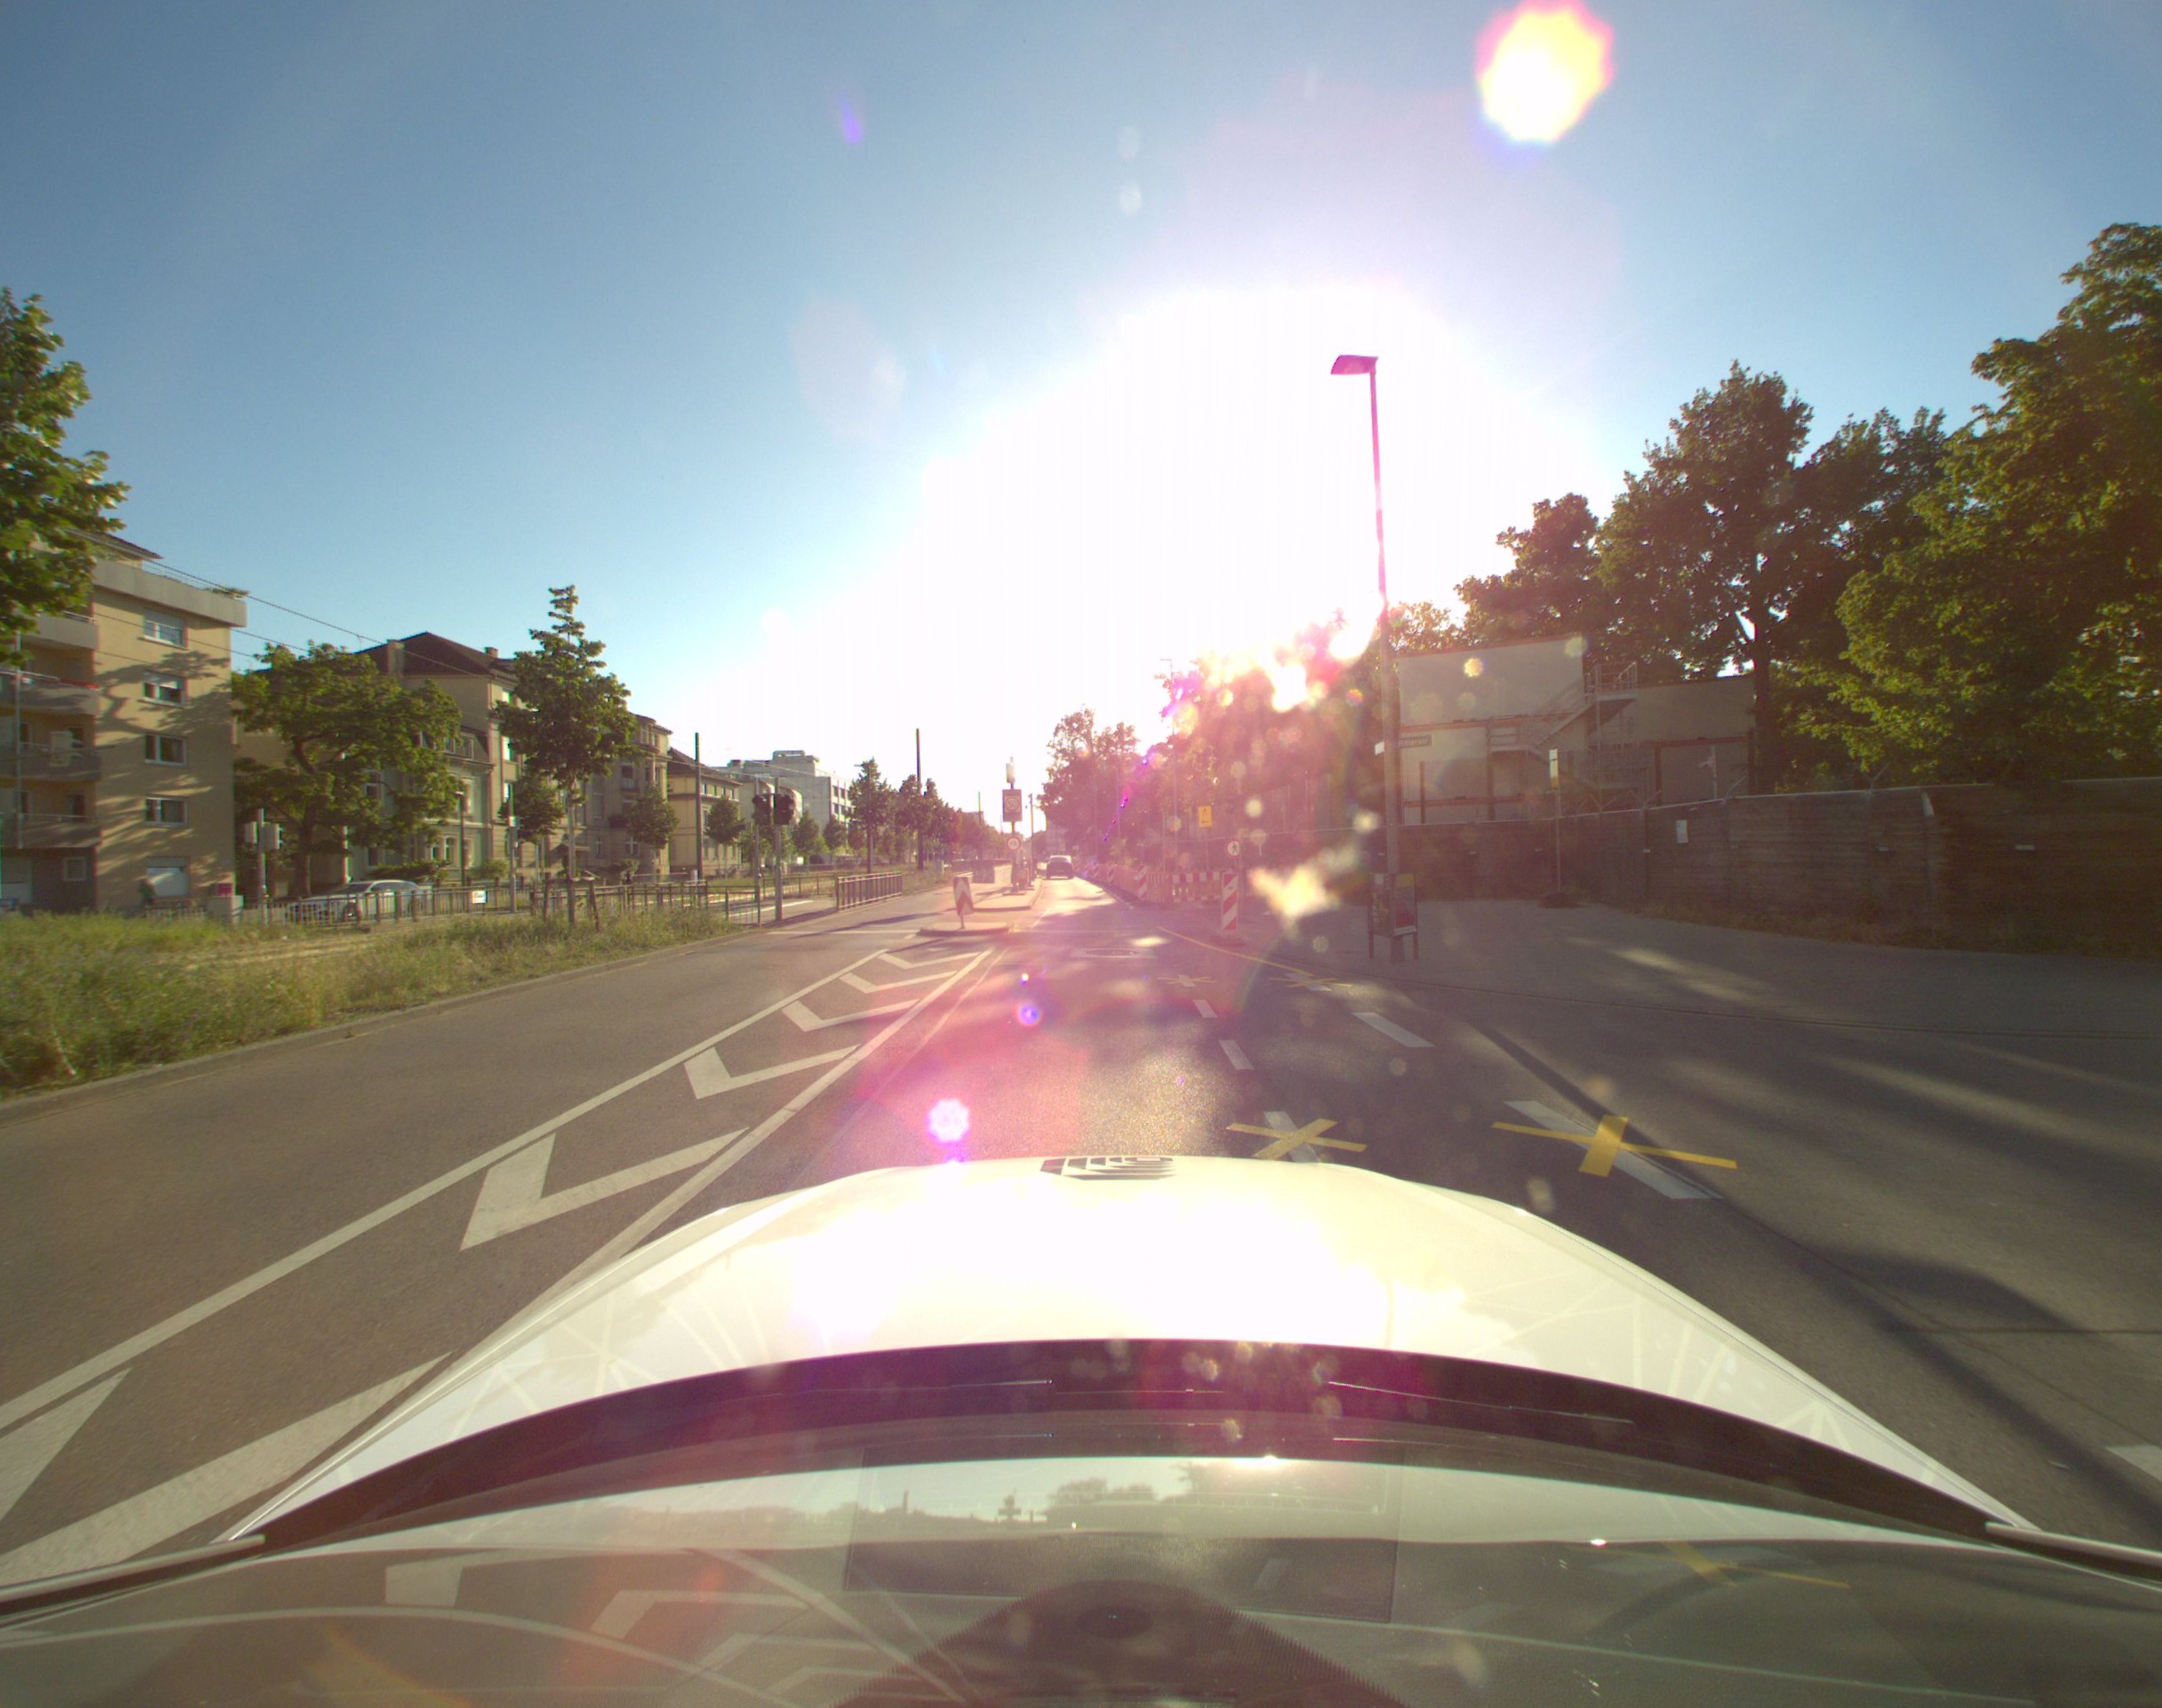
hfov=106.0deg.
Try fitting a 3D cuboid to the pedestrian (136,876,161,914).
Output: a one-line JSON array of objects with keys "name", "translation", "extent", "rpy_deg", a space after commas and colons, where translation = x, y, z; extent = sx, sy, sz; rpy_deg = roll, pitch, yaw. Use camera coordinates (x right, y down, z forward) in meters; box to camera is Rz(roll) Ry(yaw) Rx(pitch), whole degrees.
[{"name": "pedestrian", "translation": [-39.737, 1.746, 34.692], "extent": [0.518, 1.555, 0.448], "rpy_deg": [-2, -1, -4]}]

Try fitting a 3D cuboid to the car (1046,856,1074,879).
[{"name": "car", "translation": [-1.578, 0.989, 60.768], "extent": [2.000, 1.659, 3.996], "rpy_deg": [0, -1, -2]}]

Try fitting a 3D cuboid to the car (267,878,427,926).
[{"name": "car", "translation": [-26.650, 1.700, 29.811], "extent": [1.772, 1.463, 4.657], "rpy_deg": [-1, 0, -3]}]
